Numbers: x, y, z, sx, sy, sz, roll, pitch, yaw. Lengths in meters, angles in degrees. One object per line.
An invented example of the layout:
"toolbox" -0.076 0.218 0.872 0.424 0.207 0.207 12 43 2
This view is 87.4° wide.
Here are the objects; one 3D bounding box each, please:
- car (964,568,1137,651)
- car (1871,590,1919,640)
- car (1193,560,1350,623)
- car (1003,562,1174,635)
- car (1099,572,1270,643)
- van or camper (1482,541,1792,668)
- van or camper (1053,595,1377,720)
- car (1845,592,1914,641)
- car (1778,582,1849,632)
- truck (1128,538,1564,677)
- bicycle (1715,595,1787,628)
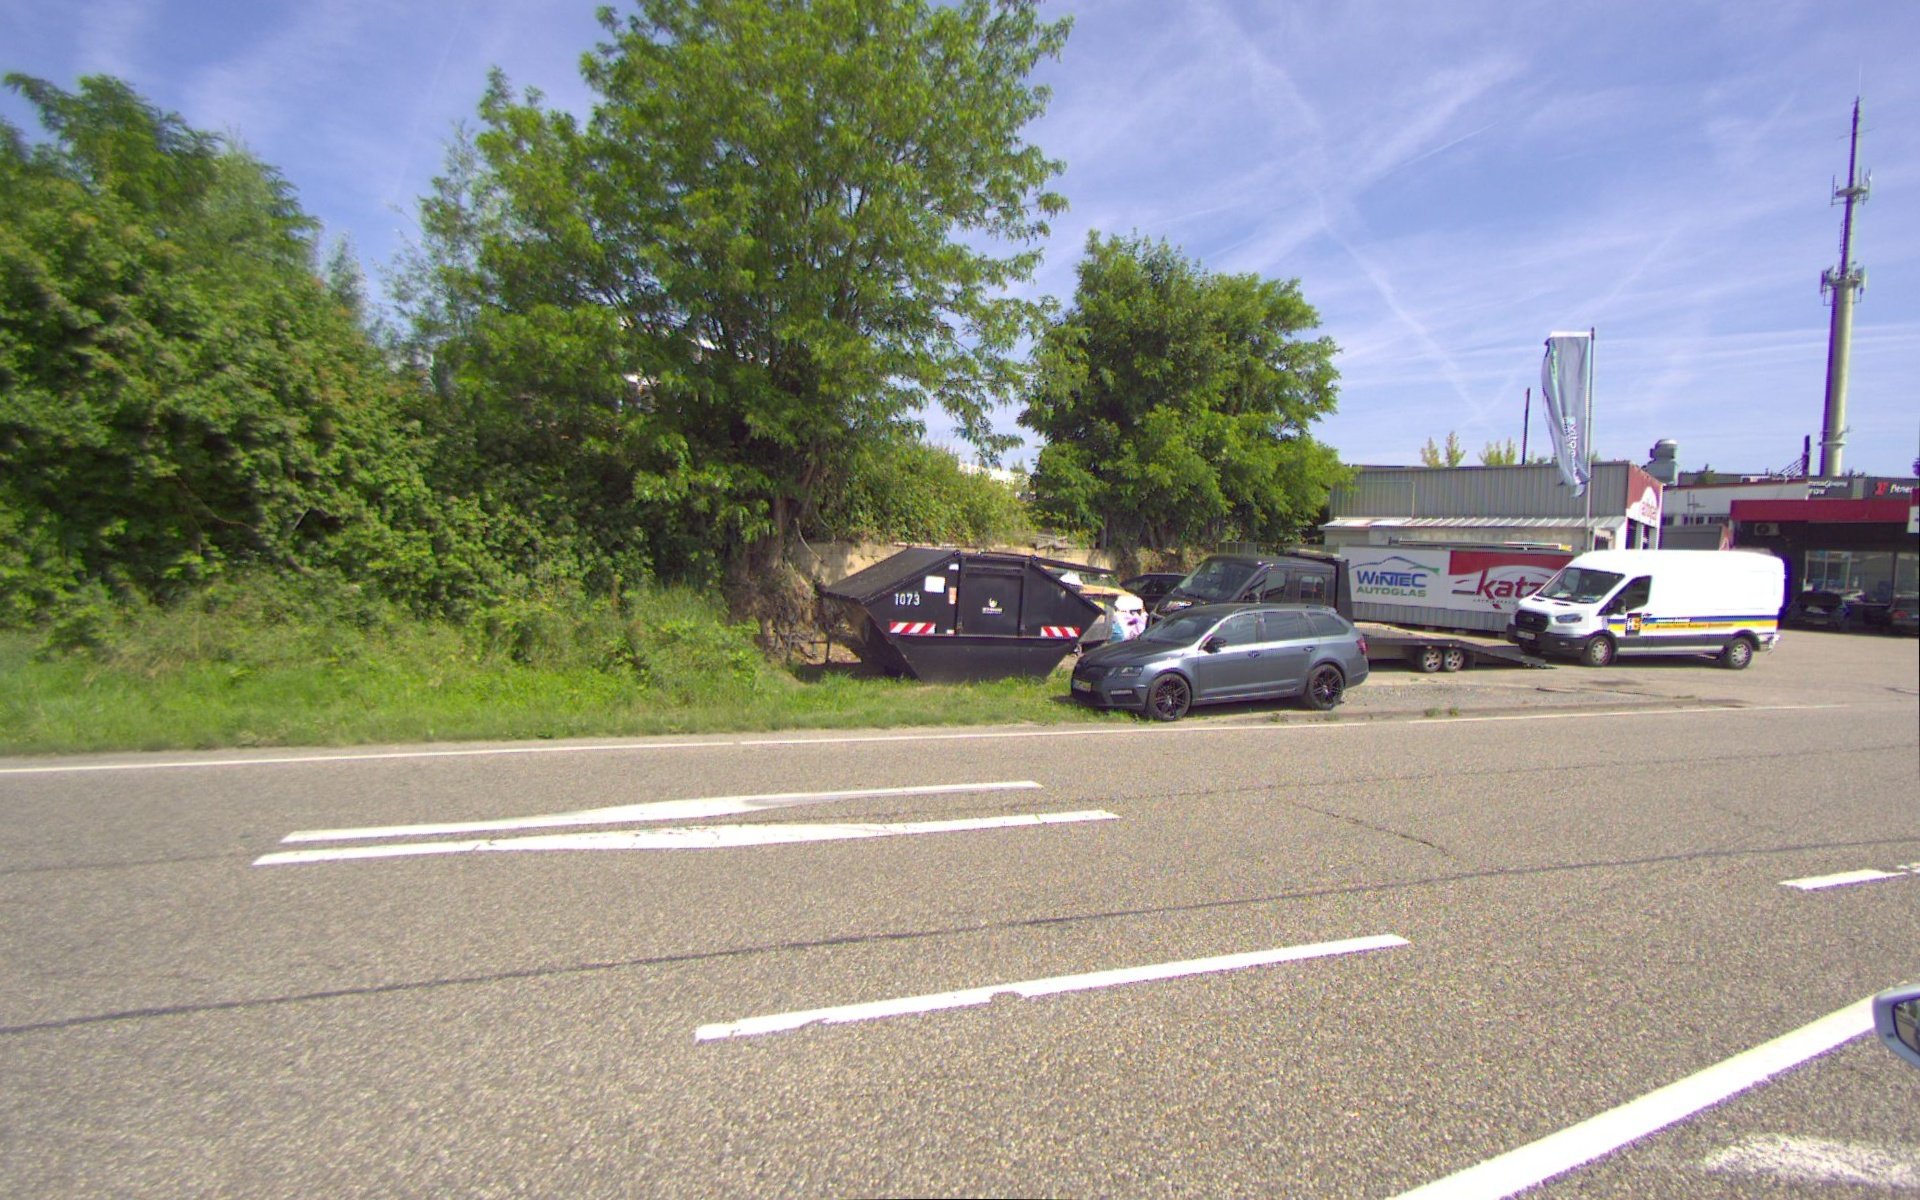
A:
"car" 1.818 0.144 21.168 1.699 1.531 3.636 0 2 -34
"car" 34.648 0.521 36.673 1.832 1.525 4.372 6 6 41
"car" 8.320 -0.265 27.014 3.618 1.550 1.730 3 2 42
"car" 2.875 -0.078 22.983 1.727 1.489 3.624 0 2 -43
"car" 5.281 0.122 23.908 1.727 1.489 3.624 0 2 -43
"van or camper" 15.126 0.072 22.563 5.846 2.533 2.155 1 5 -12
"van or camper" 3.696 0.787 14.547 4.402 1.545 1.636 1 2 -22
"car" 38.030 0.627 41.629 1.678 1.783 3.745 7 5 38
"car" 32.394 0.199 38.177 1.831 1.525 3.980 7 7 39
"truck" 7.812 0.148 20.153 8.670 2.328 2.326 1 6 -21
"bicycle" 29.093 0.406 36.983 1.970 0.984 0.413 9 6 43
